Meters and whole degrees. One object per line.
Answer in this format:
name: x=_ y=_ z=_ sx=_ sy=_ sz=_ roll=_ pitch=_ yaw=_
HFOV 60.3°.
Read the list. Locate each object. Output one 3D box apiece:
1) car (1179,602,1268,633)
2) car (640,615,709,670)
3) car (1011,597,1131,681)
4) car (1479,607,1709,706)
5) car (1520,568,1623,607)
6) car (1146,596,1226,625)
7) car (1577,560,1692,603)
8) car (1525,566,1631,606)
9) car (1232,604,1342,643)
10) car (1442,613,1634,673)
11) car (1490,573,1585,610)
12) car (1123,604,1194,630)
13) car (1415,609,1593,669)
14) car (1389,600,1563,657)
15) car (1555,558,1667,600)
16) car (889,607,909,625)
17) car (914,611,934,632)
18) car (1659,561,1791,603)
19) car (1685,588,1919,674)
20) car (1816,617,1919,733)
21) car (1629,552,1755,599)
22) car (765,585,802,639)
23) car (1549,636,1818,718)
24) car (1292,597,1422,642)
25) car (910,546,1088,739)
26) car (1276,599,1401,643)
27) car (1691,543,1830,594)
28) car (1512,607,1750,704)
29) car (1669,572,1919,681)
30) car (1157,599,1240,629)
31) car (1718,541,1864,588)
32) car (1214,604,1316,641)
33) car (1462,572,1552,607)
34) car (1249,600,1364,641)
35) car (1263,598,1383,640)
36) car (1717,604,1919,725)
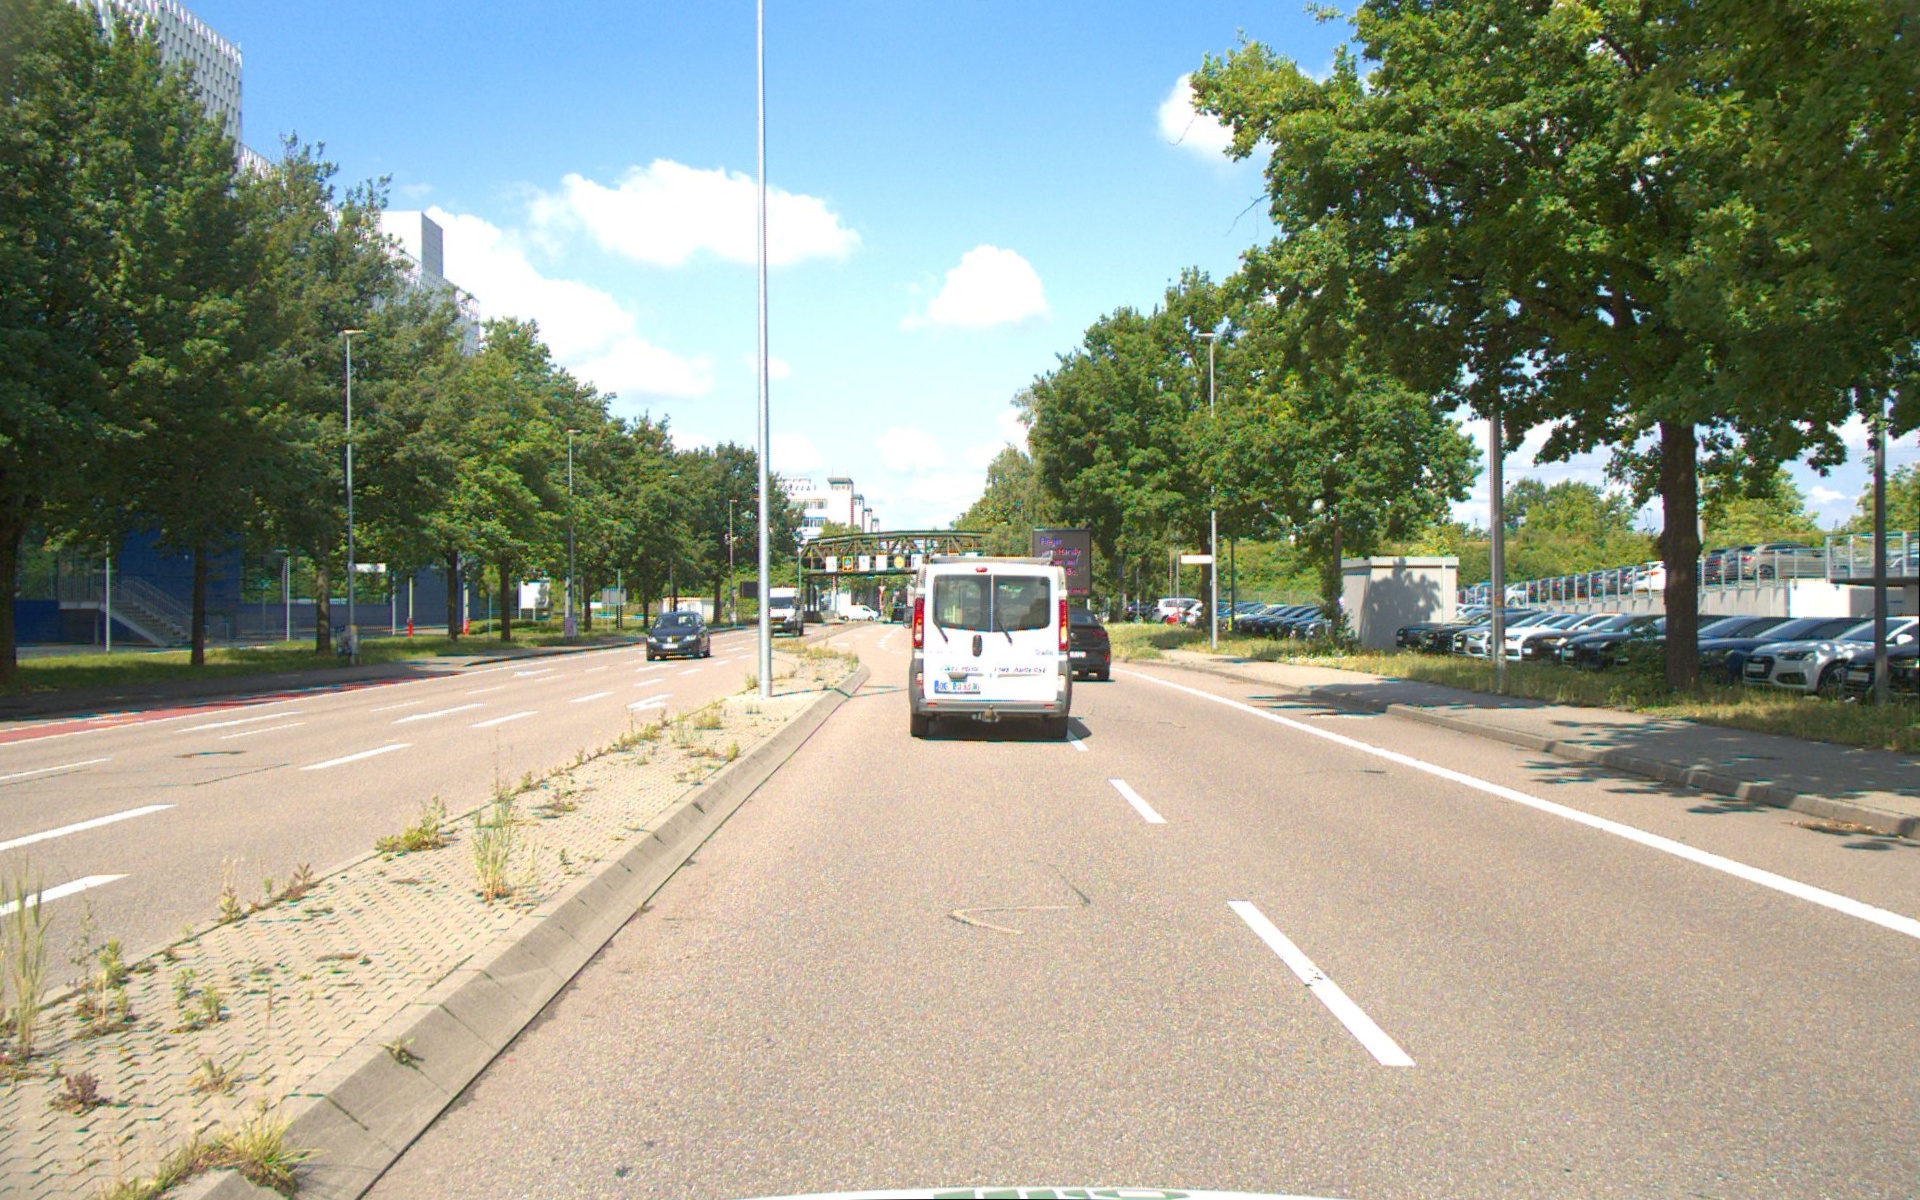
car: x=13.785 y=0.908 z=86.714 sx=4.267 sy=1.539 sz=1.935 roll=1 pitch=1 yaw=-3
car: x=-9.489 y=1.380 z=55.219 sx=1.704 sy=1.638 sz=4.238 roll=-4 pitch=0 yaw=-3
car: x=2.333 y=0.792 z=35.868 sx=1.741 sy=1.658 sz=3.991 roll=0 pitch=1 yaw=-9
car: x=14.382 y=1.262 z=37.704 sx=4.482 sy=2.085 sz=1.907 roll=1 pitch=1 yaw=-1
car: x=29.636 y=-0.619 z=80.255 sx=4.264 sy=1.805 sz=1.937 roll=1 pitch=1 yaw=2
car: x=12.959 y=0.618 z=94.872 sx=4.267 sy=1.539 sz=1.935 roll=1 pitch=1 yaw=-3
car: x=29.675 y=-0.820 z=72.905 sx=4.264 sy=1.805 sz=1.937 roll=1 pitch=1 yaw=2
car: x=28.979 y=-0.666 z=77.686 sx=4.264 sy=1.805 sz=1.937 roll=1 pitch=1 yaw=2
car: x=13.976 y=0.996 z=70.839 sx=4.267 sy=1.539 sz=1.935 roll=1 pitch=1 yaw=-3
car: x=13.999 y=1.029 z=40.206 sx=4.023 sy=1.429 sz=1.817 roll=0 pitch=0 yaw=-1
car: x=29.879 y=-0.459 z=85.639 sx=4.264 sy=1.805 sz=1.937 roll=1 pitch=1 yaw=2
car: x=12.677 y=1.085 z=105.706 sx=4.267 sy=1.539 sz=1.935 roll=1 pitch=1 yaw=-3
car: x=14.174 y=0.996 z=43.233 sx=4.023 sy=1.470 sz=1.855 roll=1 pitch=0 yaw=-1
car: x=14.296 y=0.774 z=45.969 sx=4.266 sy=1.539 sz=1.855 roll=0 pitch=-1 yaw=-1
car: x=29.393 y=-0.953 z=74.741 sx=4.264 sy=1.805 sz=1.937 roll=1 pitch=1 yaw=2
car: x=-6.547 y=1.732 z=177.285 sx=1.953 sy=1.802 sz=4.001 roll=1 pitch=1 yaw=0
car: x=-3.612 y=2.185 z=166.733 sx=1.953 sy=2.049 sz=3.999 roll=0 pitch=-1 yaw=-1
car: x=29.987 y=-0.713 z=64.893 sx=4.264 sy=1.578 sz=1.937 roll=1 pitch=1 yaw=2
car: x=15.918 y=0.549 z=30.228 sx=4.482 sy=1.429 sz=1.907 roll=1 pitch=1 yaw=-1
car: x=14.548 y=1.002 z=22.847 sx=4.482 sy=1.525 sz=1.906 roll=0 pitch=-1 yaw=-1
car: x=29.860 y=-1.008 z=67.579 sx=4.264 sy=1.805 sz=1.937 roll=1 pitch=1 yaw=2
car: x=-10.036 y=0.680 z=94.308 sx=1.983 sy=2.944 sz=6.375 roll=0 pitch=-1 yaw=-5
car: x=14.283 y=1.497 z=32.816 sx=4.482 sy=1.429 sz=1.907 roll=1 pitch=1 yaw=-1
car: x=14.491 y=0.699 z=60.511 sx=4.267 sy=1.539 sz=1.935 roll=1 pitch=1 yaw=-3
car: x=0.416 y=0.439 z=20.330 sx=1.932 sy=2.096 sz=4.564 roll=0 pitch=1 yaw=0
car: x=14.412 y=0.780 z=63.078 sx=4.267 sy=1.539 sz=1.935 roll=1 pitch=1 yaw=-3
car: x=29.986 y=-1.186 z=62.074 sx=4.264 sy=1.805 sz=1.937 roll=1 pitch=1 yaw=2
car: x=14.301 y=1.157 z=35.383 sx=4.261 sy=1.538 sz=1.786 roll=6 pitch=1 yaw=-1
car: x=14.551 y=0.428 z=27.737 sx=4.482 sy=1.707 sz=1.907 roll=1 pitch=1 yaw=-1
car: x=13.245 y=0.761 z=92.092 sx=4.267 sy=1.539 sz=1.935 roll=1 pitch=1 yaw=-3
car: x=29.938 y=-1.286 z=59.685 sx=4.264 sy=1.578 sz=1.937 roll=1 pitch=1 yaw=2
car: x=13.982 y=1.019 z=75.949 sx=4.267 sy=1.539 sz=1.935 roll=1 pitch=1 yaw=-3
car: x=29.651 y=-0.583 z=89.775 sx=4.264 sy=1.805 sz=1.937 roll=1 pitch=1 yaw=2
car: x=14.251 y=0.841 z=68.150 sx=4.267 sy=1.539 sz=1.935 roll=1 pitch=1 yaw=-3
car: x=14.385 y=0.755 z=65.700 sx=4.267 sy=1.539 sz=1.935 roll=1 pitch=1 yaw=-3
car: x=14.287 y=0.968 z=25.344 sx=4.482 sy=1.707 sz=1.907 roll=1 pitch=1 yaw=-1
